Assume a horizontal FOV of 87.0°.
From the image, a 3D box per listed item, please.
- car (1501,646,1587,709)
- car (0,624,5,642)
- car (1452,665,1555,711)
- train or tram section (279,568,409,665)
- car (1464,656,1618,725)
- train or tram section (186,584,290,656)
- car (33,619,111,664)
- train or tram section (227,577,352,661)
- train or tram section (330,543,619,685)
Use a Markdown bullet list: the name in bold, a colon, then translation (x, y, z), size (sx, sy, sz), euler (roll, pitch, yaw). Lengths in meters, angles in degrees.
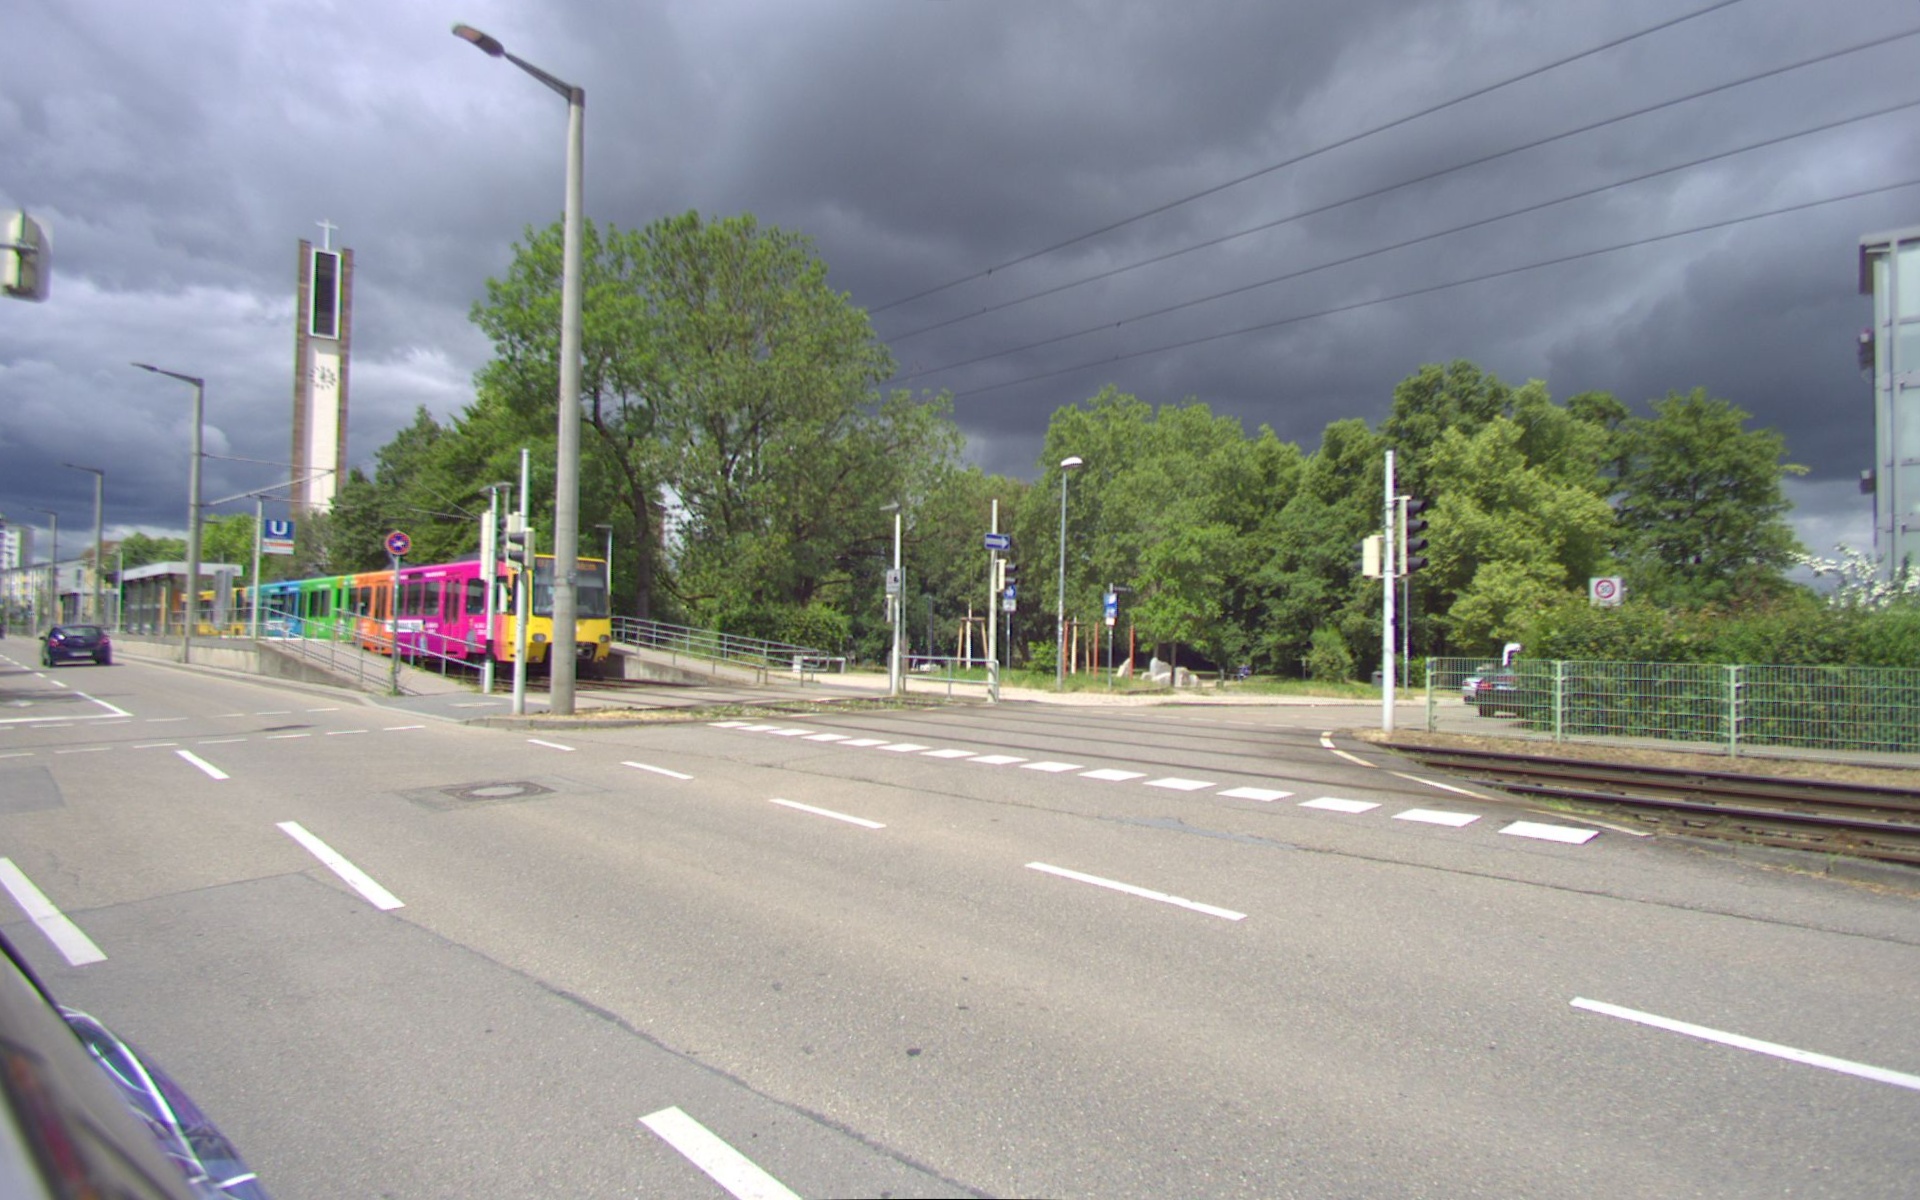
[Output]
- **car**: translation (24.255, 3.226, 41.983), size (3.939, 2.375, 2.002), euler (7, -5, -42)
- **car**: translation (-89.396, 3.049, 93.436), size (1.731, 1.624, 4.229), euler (2, -2, -44)
- **car**: translation (20.810, 3.368, 38.690), size (3.935, 1.477, 2.004), euler (7, -5, -37)
- **train or tram section**: translation (-27.307, 0.730, 44.682), size (8.381, 3.892, 2.947), euler (-1, -1, 44)
- **car**: translation (14.716, 2.308, 25.590), size (3.935, 1.477, 2.004), euler (7, -5, -37)
- **train or tram section**: translation (-43.041, 1.163, 60.134), size (12.205, 3.892, 2.947), euler (-1, -1, 44)
- **car**: translation (-31.117, 1.416, 35.448), size (4.010, 1.452, 1.698), euler (-1, -2, 44)
- **train or tram section**: translation (-34.475, 0.979, 51.767), size (11.790, 3.892, 2.947), euler (-1, -1, 44)
- **train or tram section**: translation (-17.681, 0.523, 35.233), size (18.545, 3.892, 2.947), euler (-1, -1, 45)
